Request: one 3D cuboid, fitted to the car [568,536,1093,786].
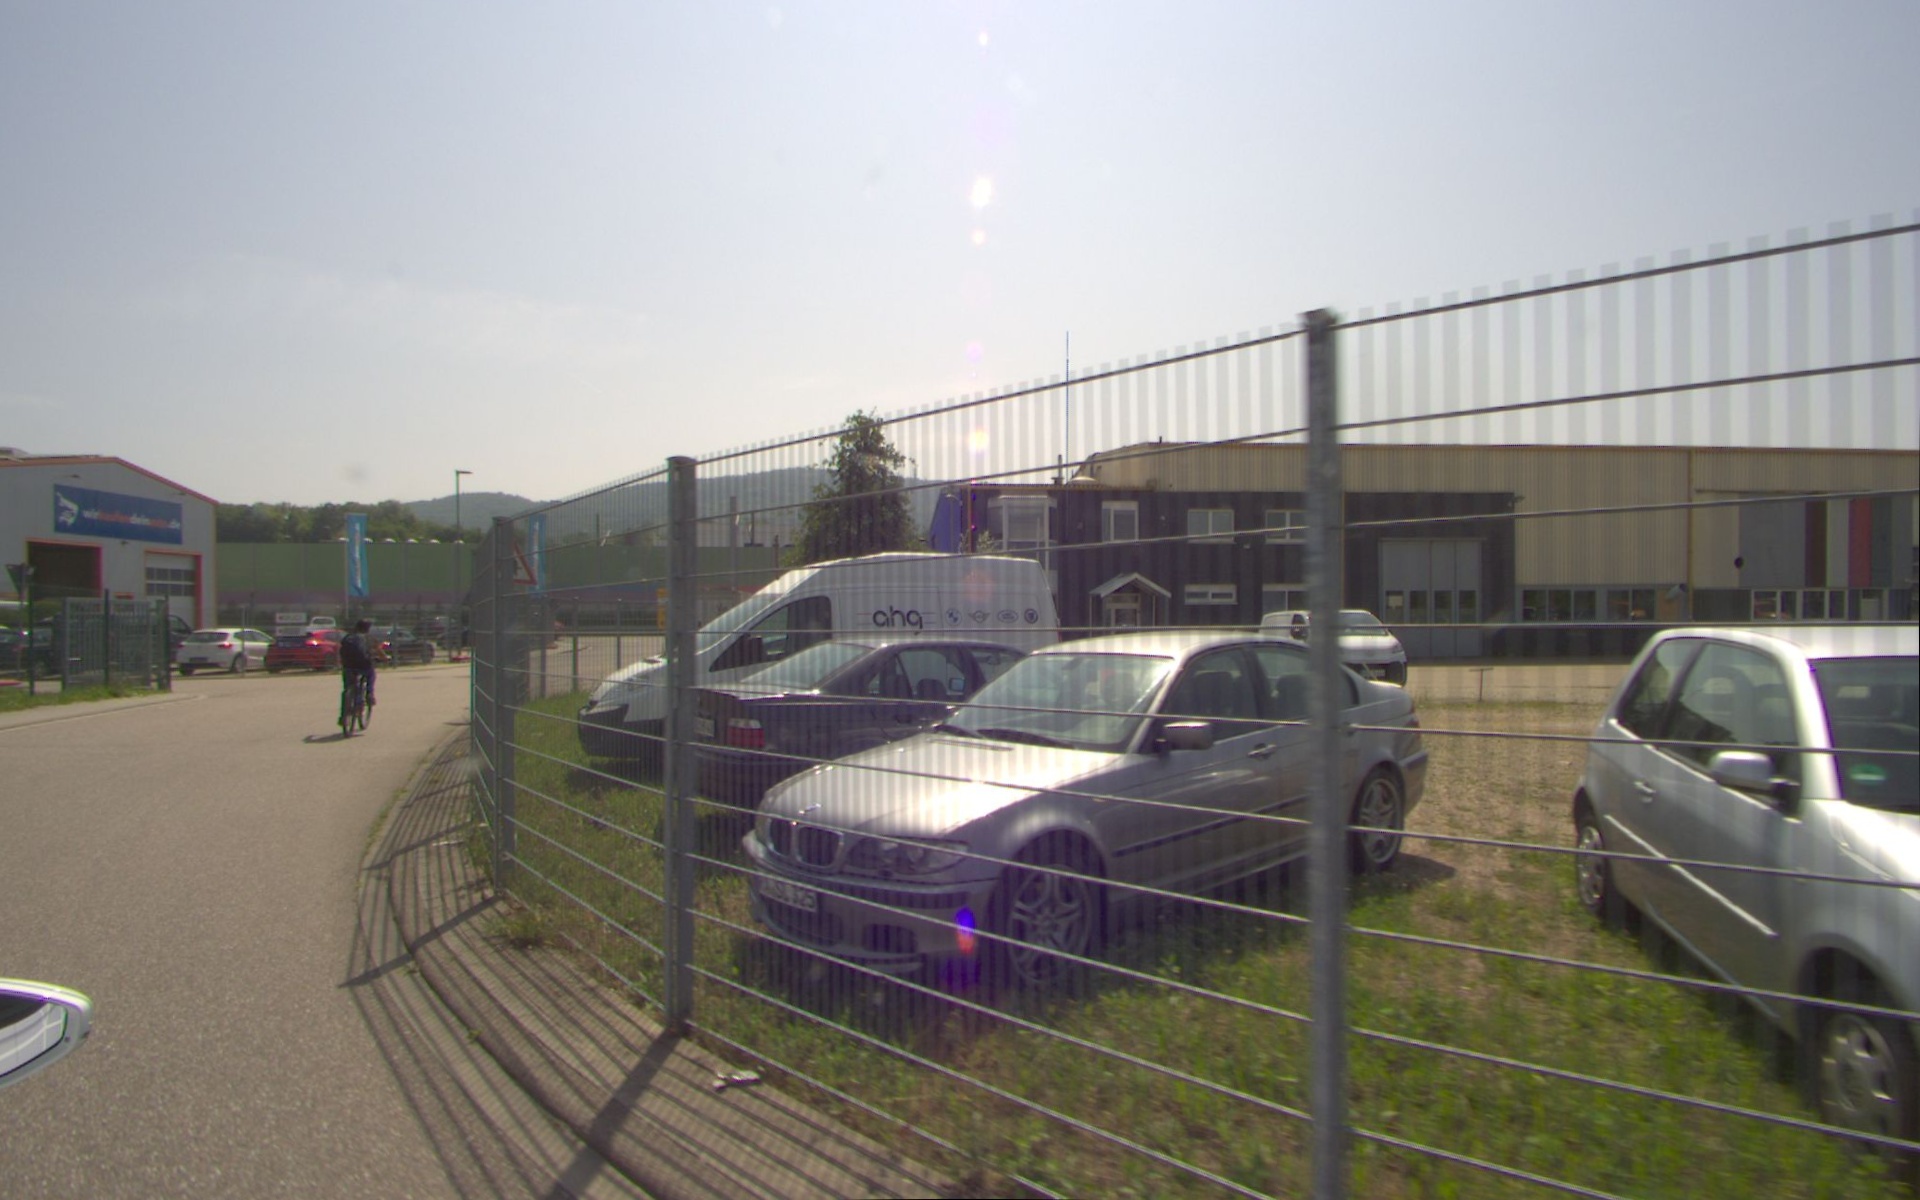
[{"bbox_3d":[-1.307,0.562,10.727,5.260,2.177,1.899,0,-1,-26],"label":"car"}]

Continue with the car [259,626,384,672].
[{"bbox_3d":[-21.327,1.606,33.675,1.839,1.404,4.113,0,-1,-5],"label":"car"}]

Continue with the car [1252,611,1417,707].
[{"bbox_3d":[8.210,1.225,22.523,1.821,1.924,5.077,0,-1,0],"label":"car"}]

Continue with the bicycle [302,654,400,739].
[{"bbox_3d":[-8.580,1.328,14.198,0.675,1.065,1.898,1,-1,-15],"label":"bicycle"}]

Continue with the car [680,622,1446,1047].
[{"bbox_3d":[0.858,0.831,5.391,4.311,1.413,1.603,1,-1,-41],"label":"car"}]

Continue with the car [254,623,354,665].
[{"bbox_3d":[-24.539,1.600,37.625,1.459,1.473,3.894,0,-1,-5],"label":"car"}]

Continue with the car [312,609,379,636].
[{"bbox_3d":[-37.384,1.366,61.012,1.962,1.602,3.999,0,-1,-6],"label":"car"}]

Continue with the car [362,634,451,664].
[{"bbox_3d":[-21.285,1.853,38.690,1.459,1.020,4.113,0,-1,-5],"label":"car"}]

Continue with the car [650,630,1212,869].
[{"bbox_3d":[-0.099,0.945,7.767,4.151,1.374,1.607,0,-1,-33],"label":"car"}]

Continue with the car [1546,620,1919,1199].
[{"bbox_3d":[3.318,0.788,3.260,1.606,1.440,3.471,0,-1,16],"label":"car"}]

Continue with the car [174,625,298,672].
[{"bbox_3d":[-23.976,1.566,33.310,1.717,1.423,3.603,0,-1,-5],"label":"car"}]

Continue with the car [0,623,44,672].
[{"bbox_3d":[-31.367,1.512,31.801,1.479,1.560,3.603,0,-1,-5],"label":"car"}]

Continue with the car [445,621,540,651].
[{"bbox_3d":[-23.868,1.830,51.206,3.922,1.512,2.000,0,0,-1],"label":"car"}]

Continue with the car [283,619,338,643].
[{"bbox_3d":[-47.544,2.249,73.395,1.671,1.678,4.000,0,-1,-4],"label":"car"}]

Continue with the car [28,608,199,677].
[{"bbox_3d":[-26.913,1.305,32.067,1.919,2.057,4.517,0,-1,-5],"label":"car"}]

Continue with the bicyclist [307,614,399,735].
[{"bbox_3d":[-8.587,1.031,14.206,0.830,1.639,1.038,1,-1,-15],"label":"bicyclist"}]
